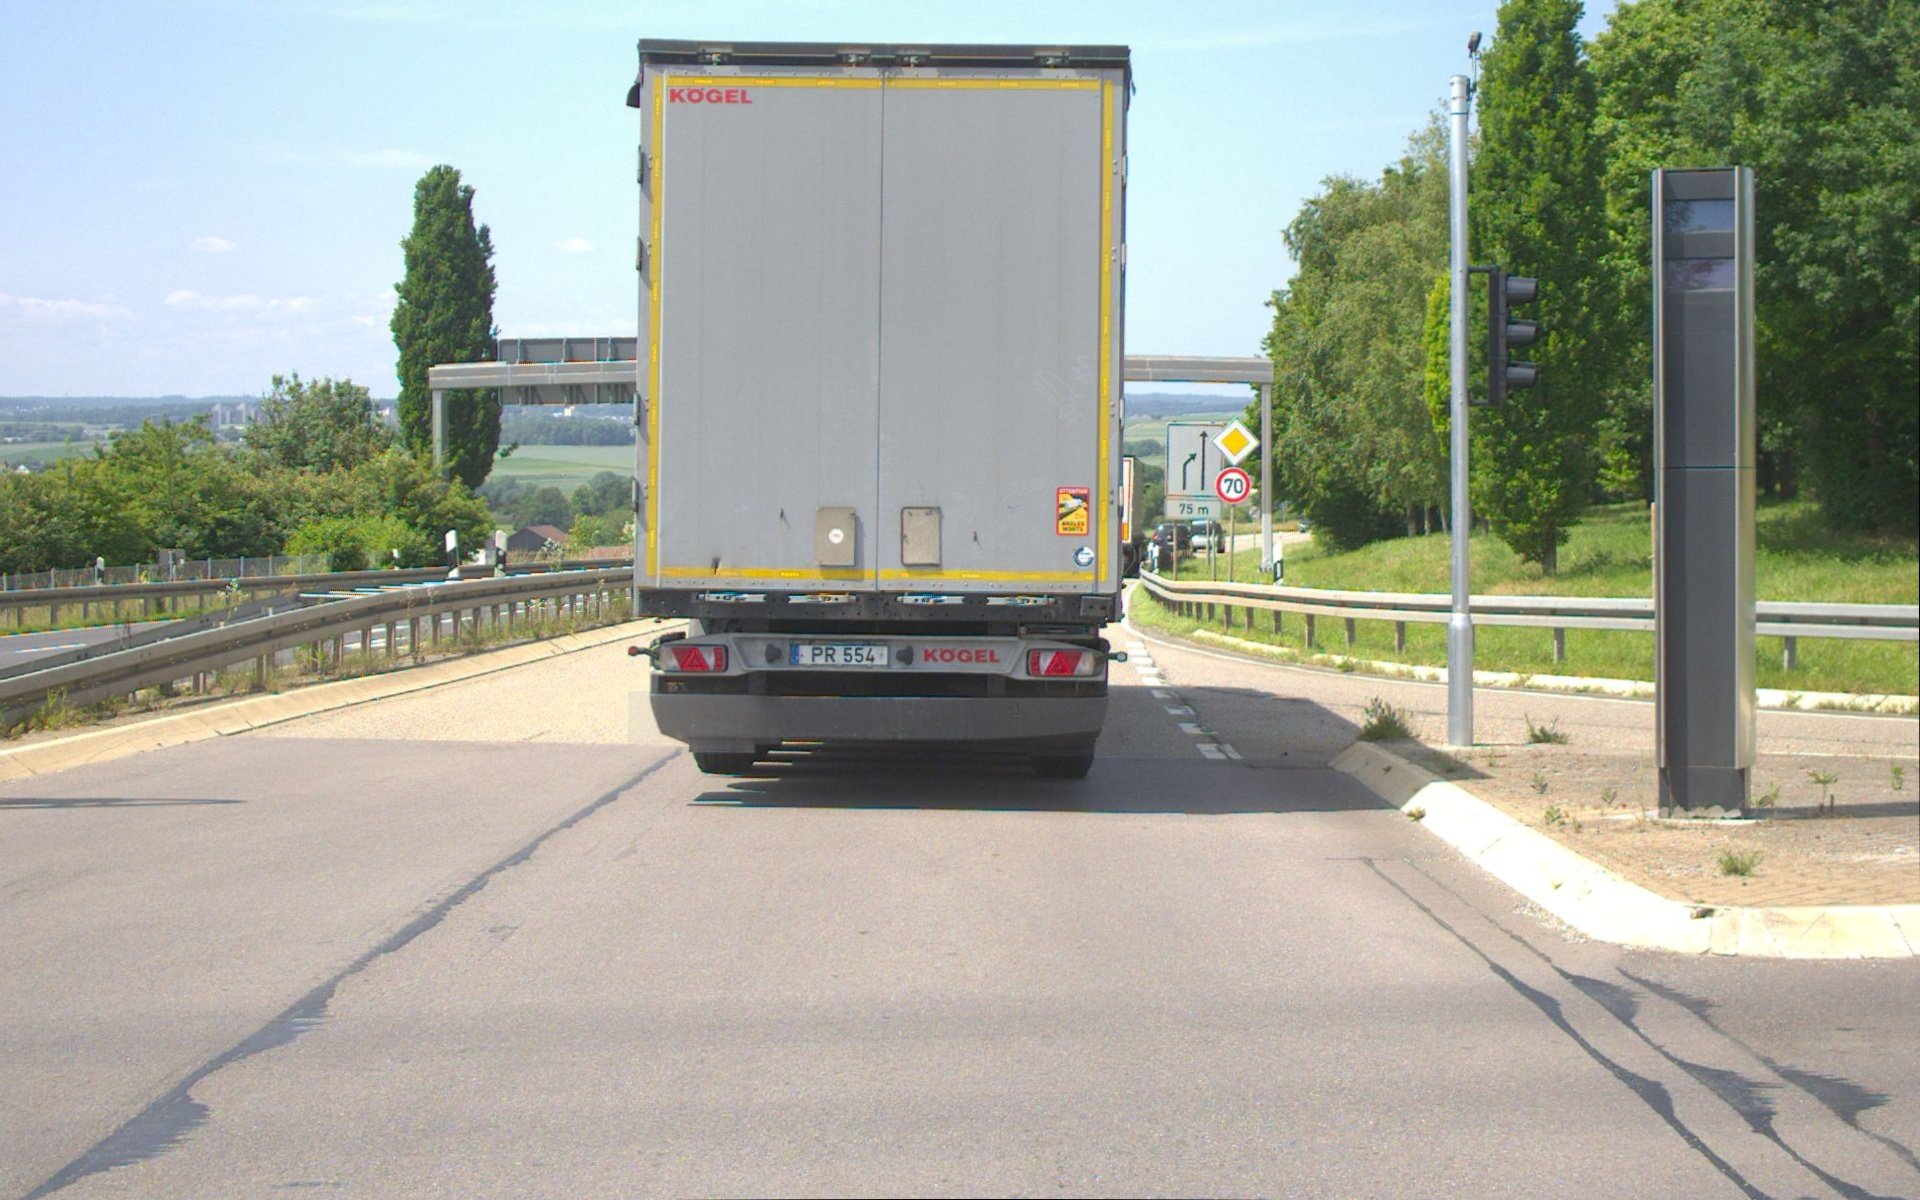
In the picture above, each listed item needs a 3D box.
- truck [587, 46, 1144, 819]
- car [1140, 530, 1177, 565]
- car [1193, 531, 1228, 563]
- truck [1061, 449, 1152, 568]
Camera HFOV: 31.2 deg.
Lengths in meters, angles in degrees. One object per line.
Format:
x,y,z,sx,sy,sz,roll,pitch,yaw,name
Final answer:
-0.693,-0.983,23.265,2.799,3.916,11.343,1,1,-2,truck
9.895,-2.611,171.597,1.786,1.682,4.000,1,0,3,car
13.869,-2.924,190.463,1.786,1.682,4.000,1,0,3,car
5.012,-3.006,115.955,2.656,3.751,10.160,1,0,4,truck
